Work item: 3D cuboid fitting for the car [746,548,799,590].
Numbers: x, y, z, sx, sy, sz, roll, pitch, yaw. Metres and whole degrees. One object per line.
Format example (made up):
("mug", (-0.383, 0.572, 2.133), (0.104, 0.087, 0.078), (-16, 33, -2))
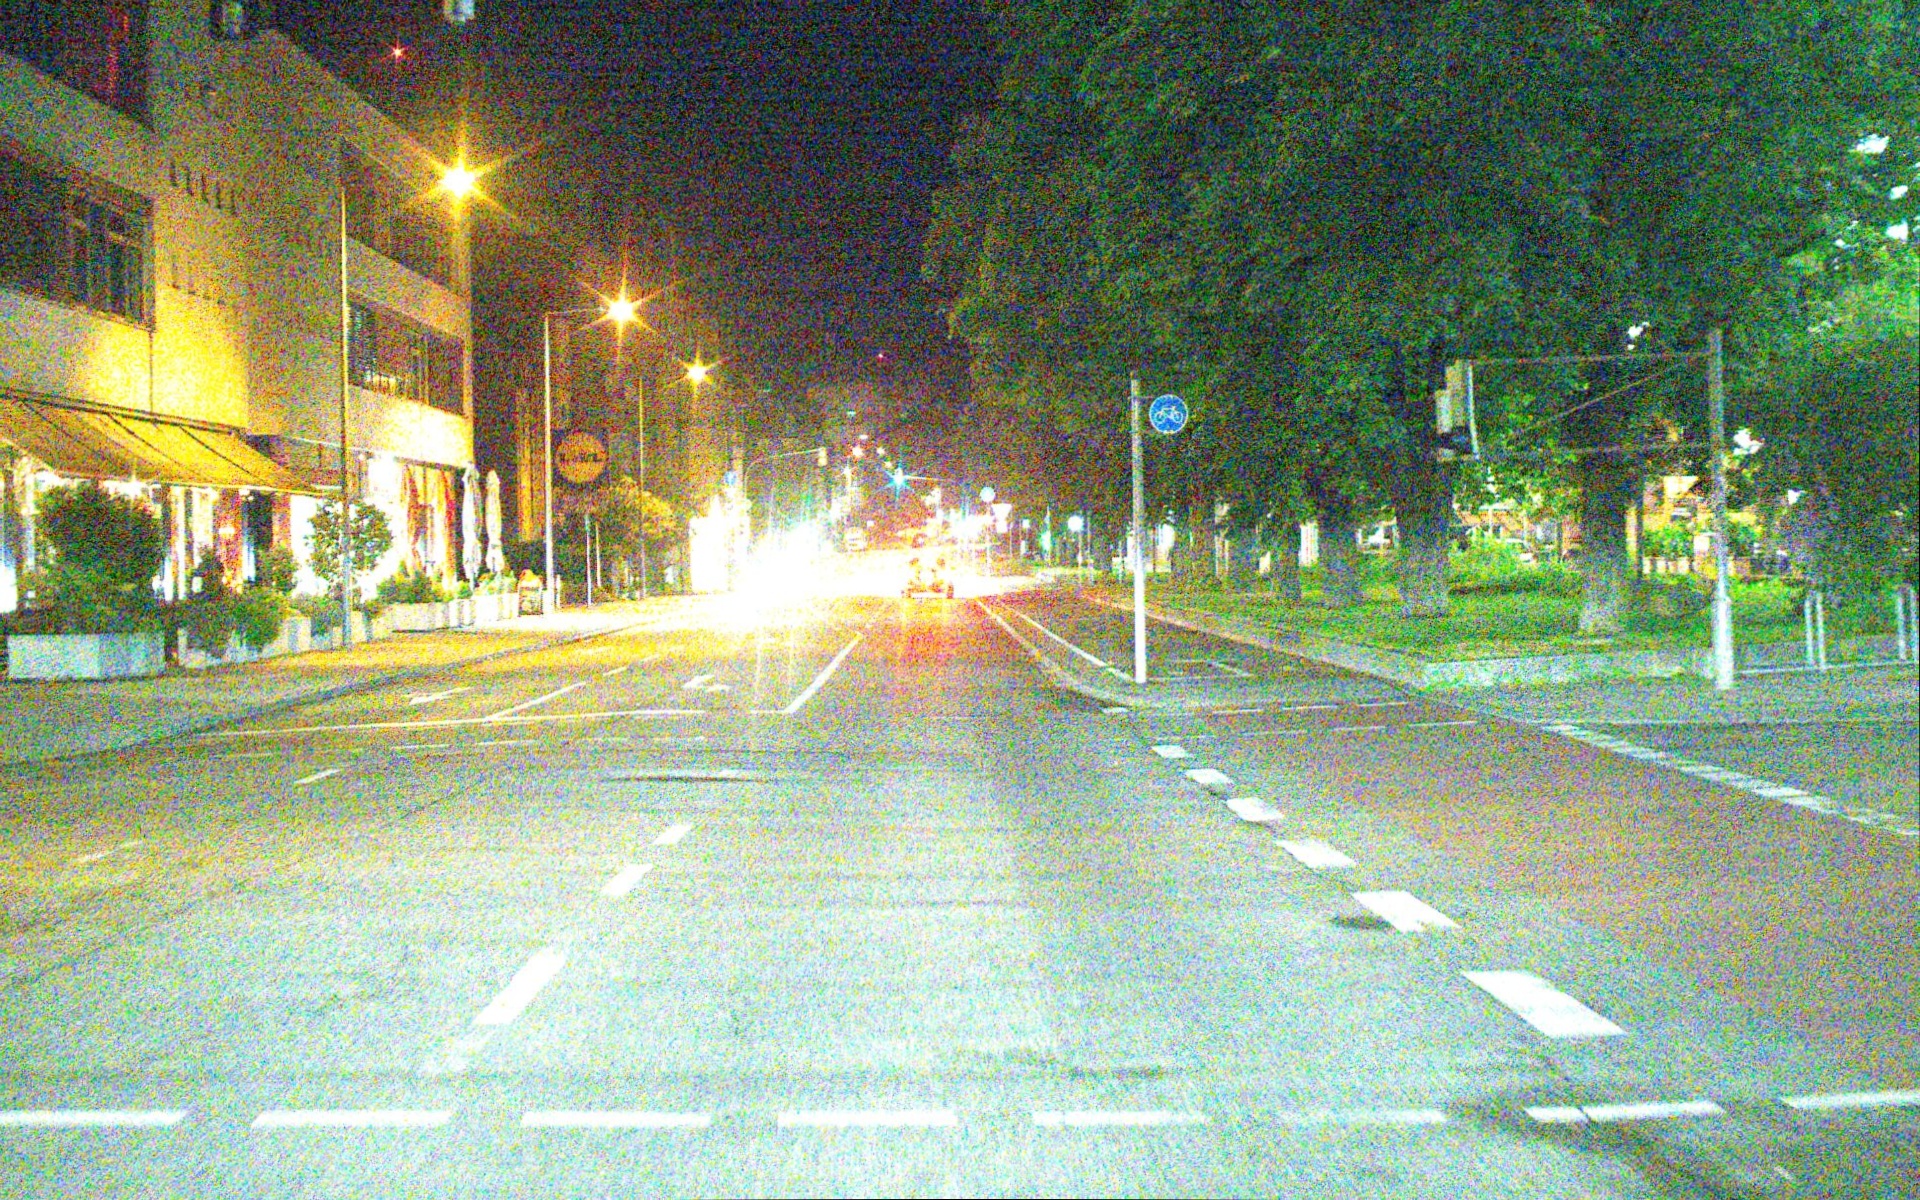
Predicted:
("car", (-7.650, -1.268, 140.366), (1.993, 1.637, 4.000), (-2, 1, -1))

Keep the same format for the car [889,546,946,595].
("car", (-1.531, -1.074, 123.748), (1.993, 1.637, 4.000), (-2, 1, -1))
